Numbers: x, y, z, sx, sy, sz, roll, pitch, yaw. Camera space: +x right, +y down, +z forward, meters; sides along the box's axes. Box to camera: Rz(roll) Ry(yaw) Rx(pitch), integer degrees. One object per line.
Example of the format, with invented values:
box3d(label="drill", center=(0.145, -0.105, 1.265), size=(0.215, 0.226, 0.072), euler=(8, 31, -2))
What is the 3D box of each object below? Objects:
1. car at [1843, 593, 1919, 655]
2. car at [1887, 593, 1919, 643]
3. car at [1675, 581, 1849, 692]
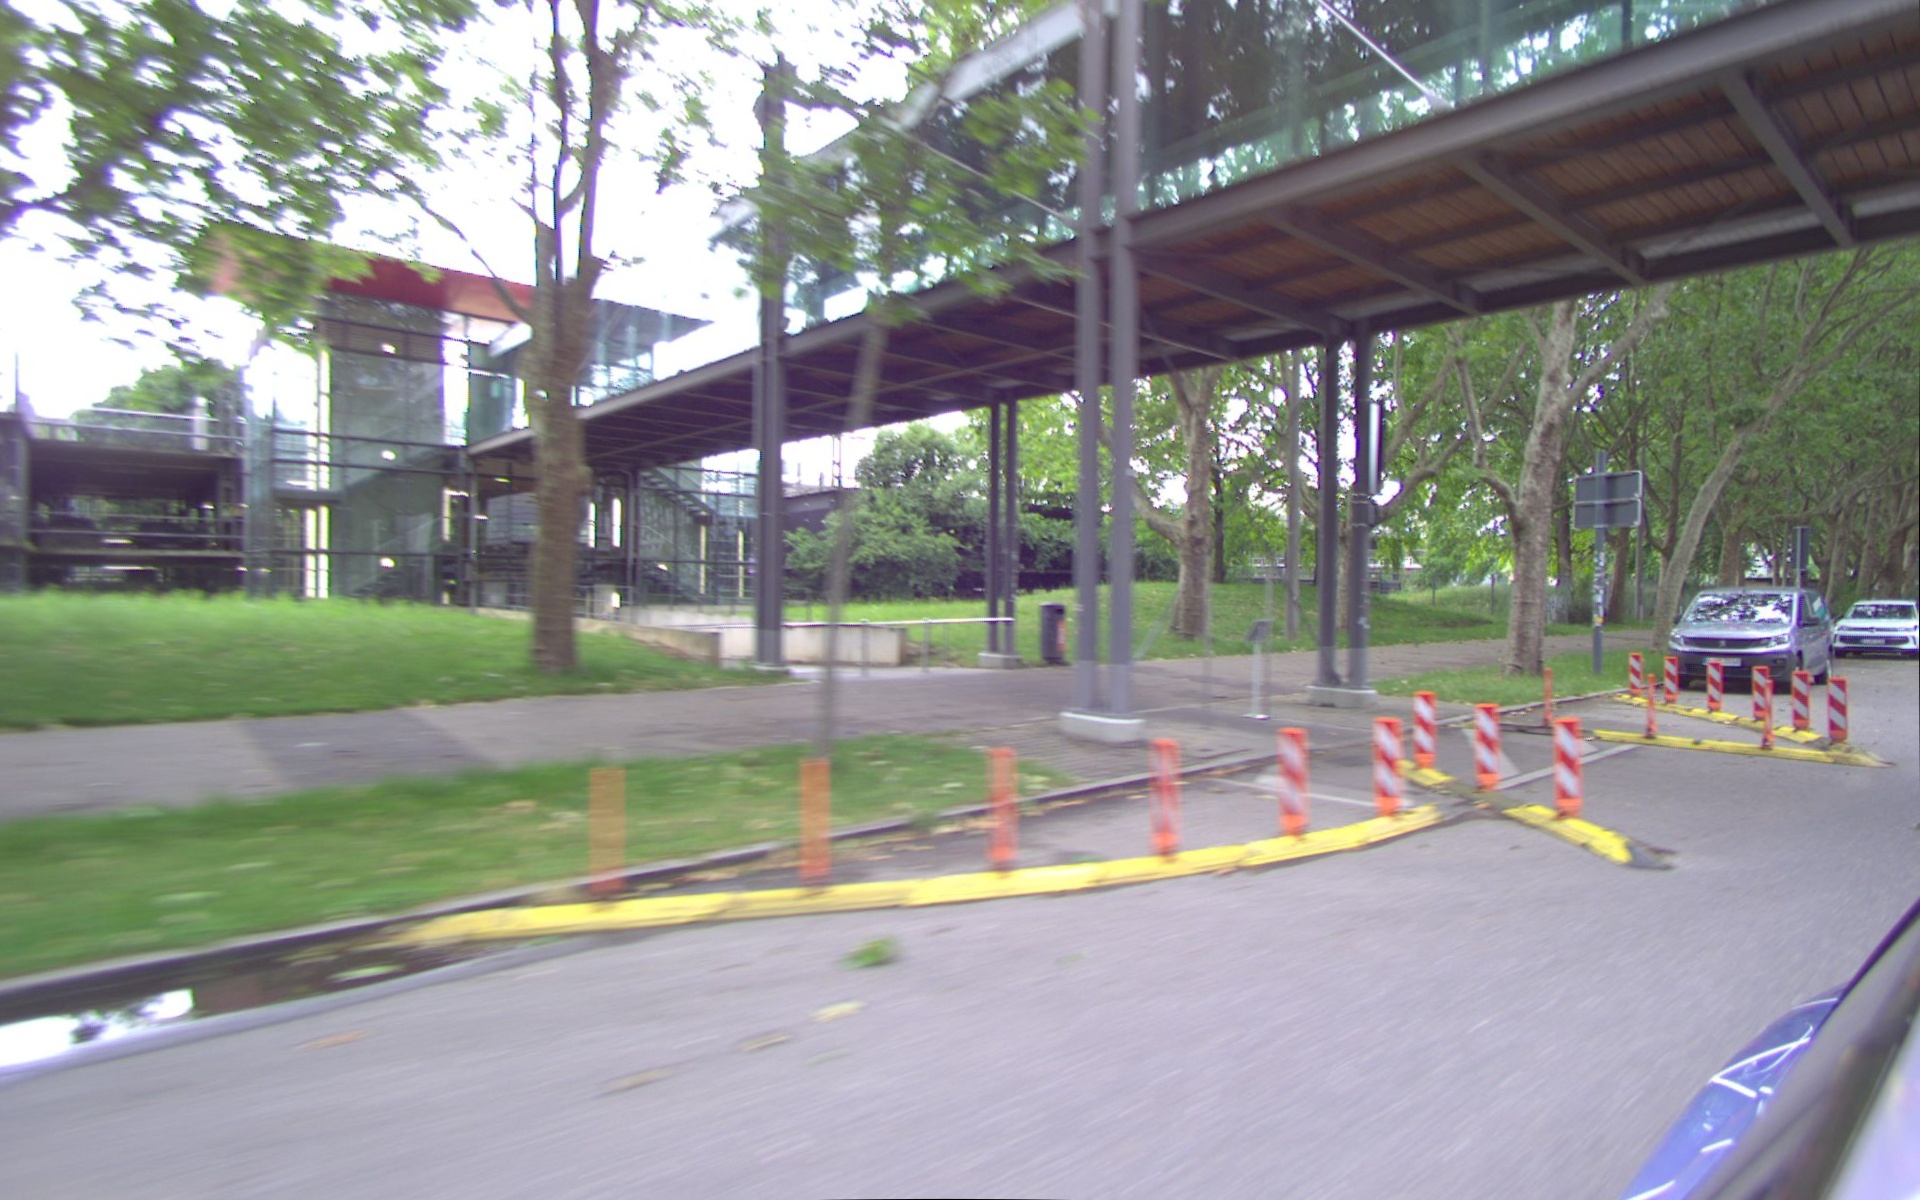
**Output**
box3d(label="car", center=(26.452, 0.626, 28.507), size=(4.422, 1.590, 1.919), euler=(-1, 2, -43))
box3d(label="car", center=(32.959, 0.595, 34.295), size=(4.422, 1.590, 1.919), euler=(-1, 2, -43))
box3d(label="car", center=(14.370, 0.543, 18.045), size=(4.422, 1.718, 1.754), euler=(-1, 2, -43))
